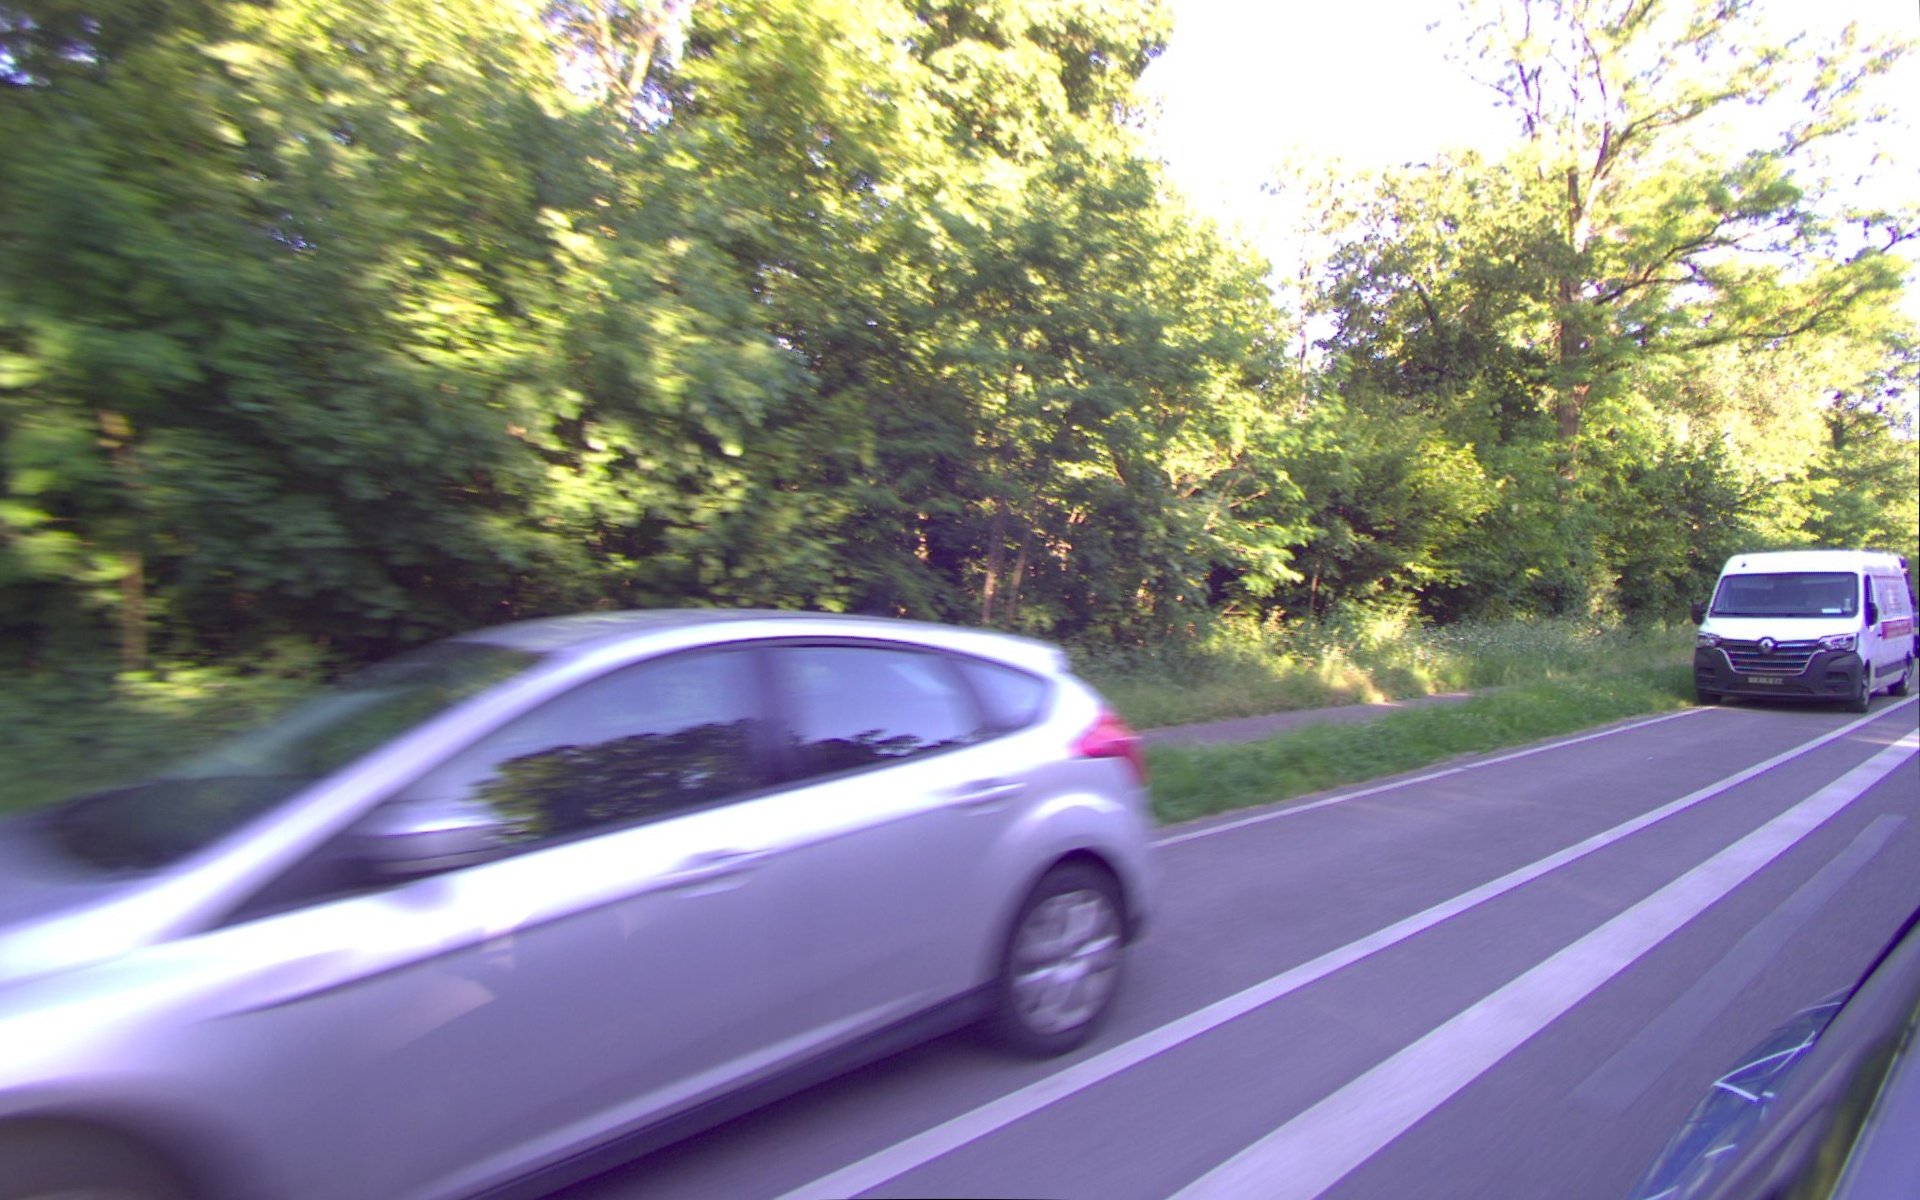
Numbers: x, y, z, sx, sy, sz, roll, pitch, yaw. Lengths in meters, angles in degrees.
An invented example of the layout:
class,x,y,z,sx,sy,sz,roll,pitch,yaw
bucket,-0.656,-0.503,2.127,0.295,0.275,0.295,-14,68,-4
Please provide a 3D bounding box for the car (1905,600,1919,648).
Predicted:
class,x,y,z,sx,sy,sz,roll,pitch,yaw
car,30.993,0.718,31.638,4.520,1.439,1.835,0,-2,-44

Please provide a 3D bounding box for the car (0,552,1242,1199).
class,x,y,z,sx,sy,sz,roll,pitch,yaw
car,-1.113,0.689,3.049,4.325,1.507,1.737,0,-1,-42

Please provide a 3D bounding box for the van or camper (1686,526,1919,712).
class,x,y,z,sx,sy,sz,roll,pitch,yaw
van or camper,14.011,0.231,16.430,6.192,2.514,2.130,0,1,-40
